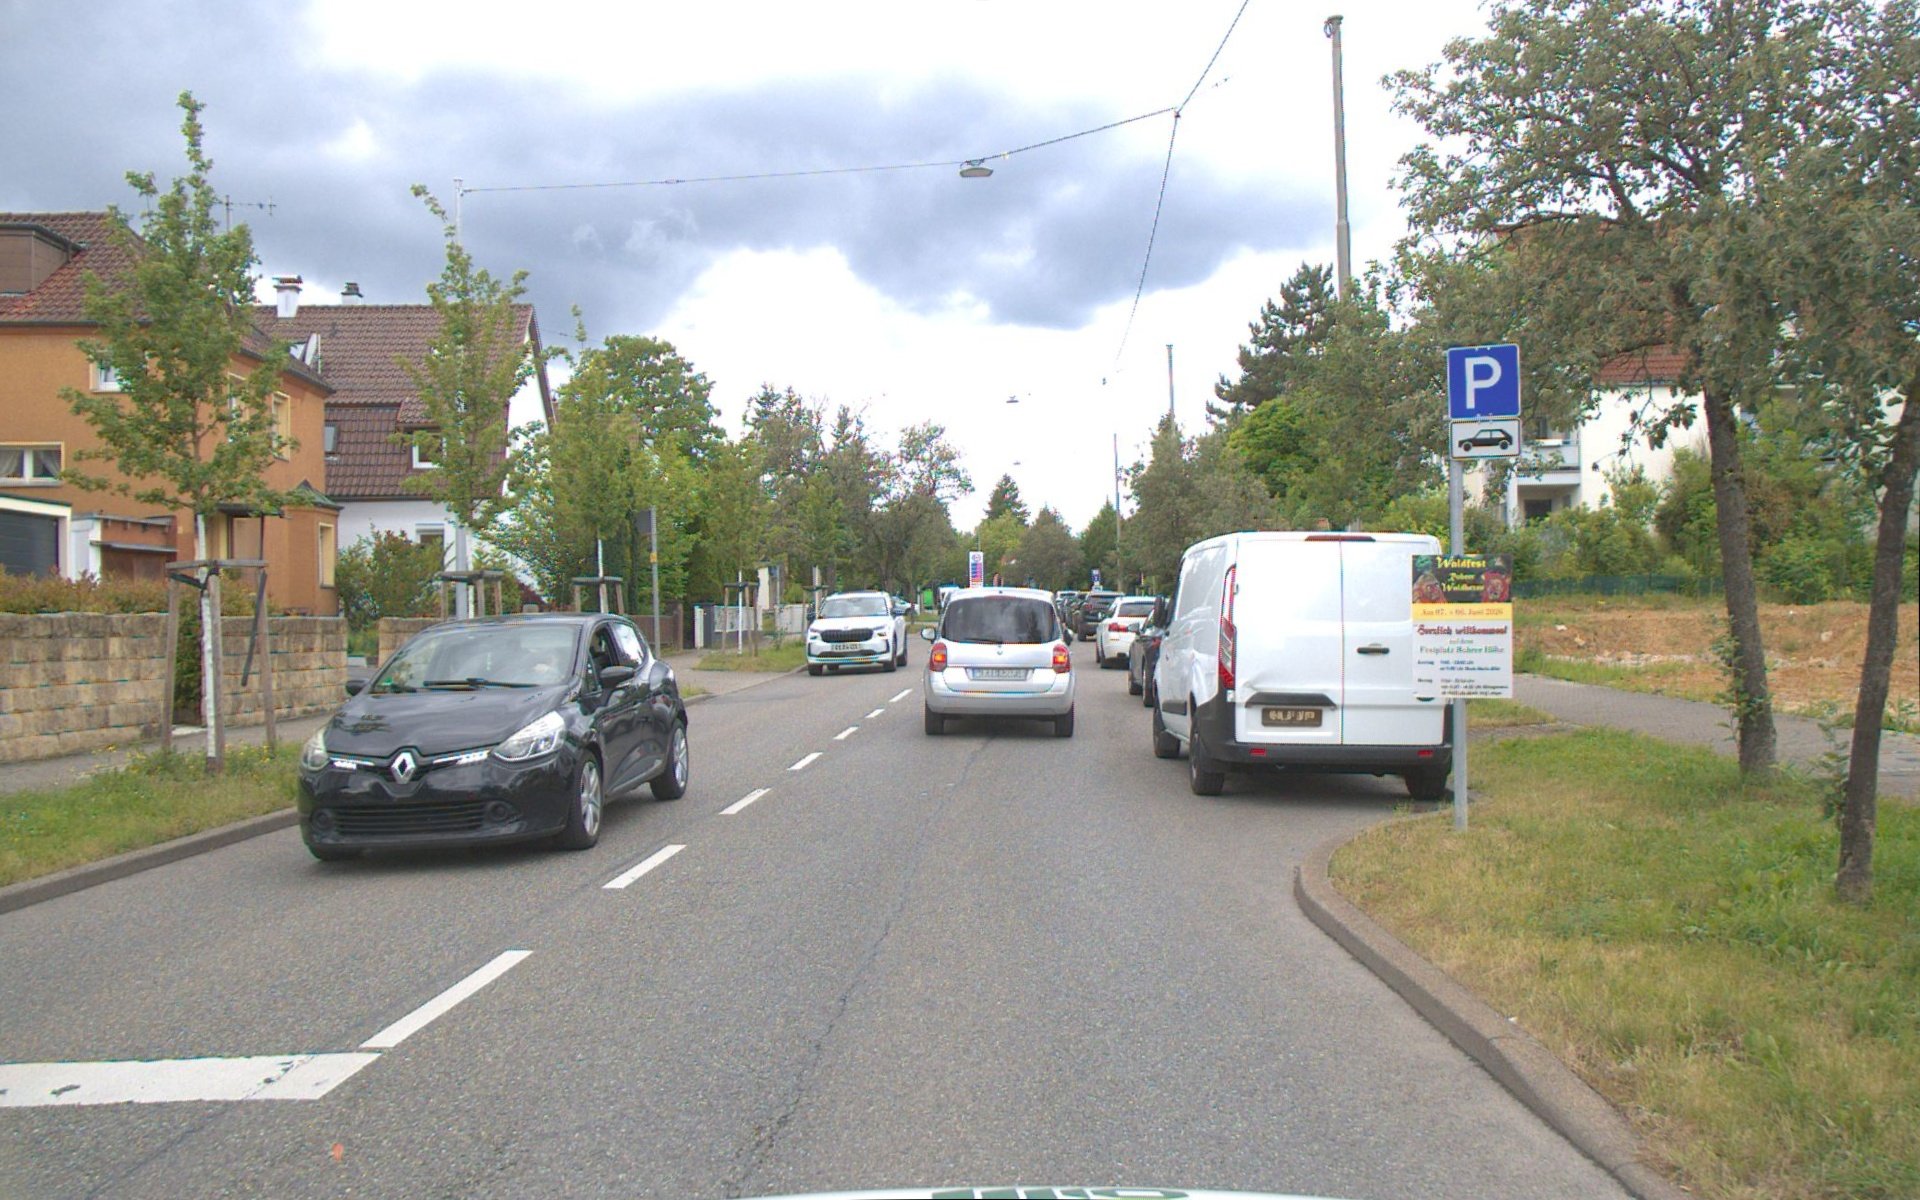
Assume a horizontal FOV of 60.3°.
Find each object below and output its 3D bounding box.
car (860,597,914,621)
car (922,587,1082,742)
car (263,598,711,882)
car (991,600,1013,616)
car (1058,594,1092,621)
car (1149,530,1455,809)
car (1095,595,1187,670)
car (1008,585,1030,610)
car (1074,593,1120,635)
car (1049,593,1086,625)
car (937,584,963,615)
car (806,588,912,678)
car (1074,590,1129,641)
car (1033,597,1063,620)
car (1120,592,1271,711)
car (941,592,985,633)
[{"bbox_3d":[-5.664,0.676,128.774,4.001,1.735,1.748,-2,0,4],"label":"car"},{"bbox_3d":[0.507,0.674,18.942,1.644,1.587,3.512,1,0,2],"label":"car"},{"bbox_3d":[-2.921,0.777,11.138,1.582,1.497,4.002,-3,0,4],"label":"car"},{"bbox_3d":[4.019,0.762,159.219,1.662,1.532,3.967,-1,0,-6],"label":"car"},{"bbox_3d":[6.353,0.387,91.844,1.526,1.468,3.505,0,0,-2],"label":"car"},{"bbox_3d":[2.701,0.487,14.141,1.738,1.977,4.789,0,0,1],"label":"car"},{"bbox_3d":[3.794,0.639,35.212,1.658,1.479,4.406,1,0,3],"label":"car"},{"bbox_3d":[7.250,-0.299,204.496,2.236,2.962,5.275,0,0,-3],"label":"car"},{"bbox_3d":[6.068,0.619,73.534,1.792,1.741,4.551,-2,0,3],"label":"car"},{"bbox_3d":[6.270,0.500,97.242,1.762,1.809,4.703,0,0,-1],"label":"car"},{"bbox_3d":[-0.861,-0.054,148.854,2.030,2.627,5.301,-3,0,1],"label":"car"},{"bbox_3d":[-2.093,0.664,35.401,1.776,1.722,4.467,-3,0,2],"label":"car"},{"bbox_3d":[4.700,0.483,55.378,1.652,1.637,4.110,0,0,3],"label":"car"},{"bbox_3d":[5.979,0.579,112.513,1.595,1.477,3.873,-4,0,-3],"label":"car"},{"bbox_3d":[3.281,0.666,23.746,1.631,1.542,4.221,0,0,1],"label":"car"},{"bbox_3d":[0.155,0.547,75.309,1.758,1.782,4.300,-2,0,3],"label":"car"}]
